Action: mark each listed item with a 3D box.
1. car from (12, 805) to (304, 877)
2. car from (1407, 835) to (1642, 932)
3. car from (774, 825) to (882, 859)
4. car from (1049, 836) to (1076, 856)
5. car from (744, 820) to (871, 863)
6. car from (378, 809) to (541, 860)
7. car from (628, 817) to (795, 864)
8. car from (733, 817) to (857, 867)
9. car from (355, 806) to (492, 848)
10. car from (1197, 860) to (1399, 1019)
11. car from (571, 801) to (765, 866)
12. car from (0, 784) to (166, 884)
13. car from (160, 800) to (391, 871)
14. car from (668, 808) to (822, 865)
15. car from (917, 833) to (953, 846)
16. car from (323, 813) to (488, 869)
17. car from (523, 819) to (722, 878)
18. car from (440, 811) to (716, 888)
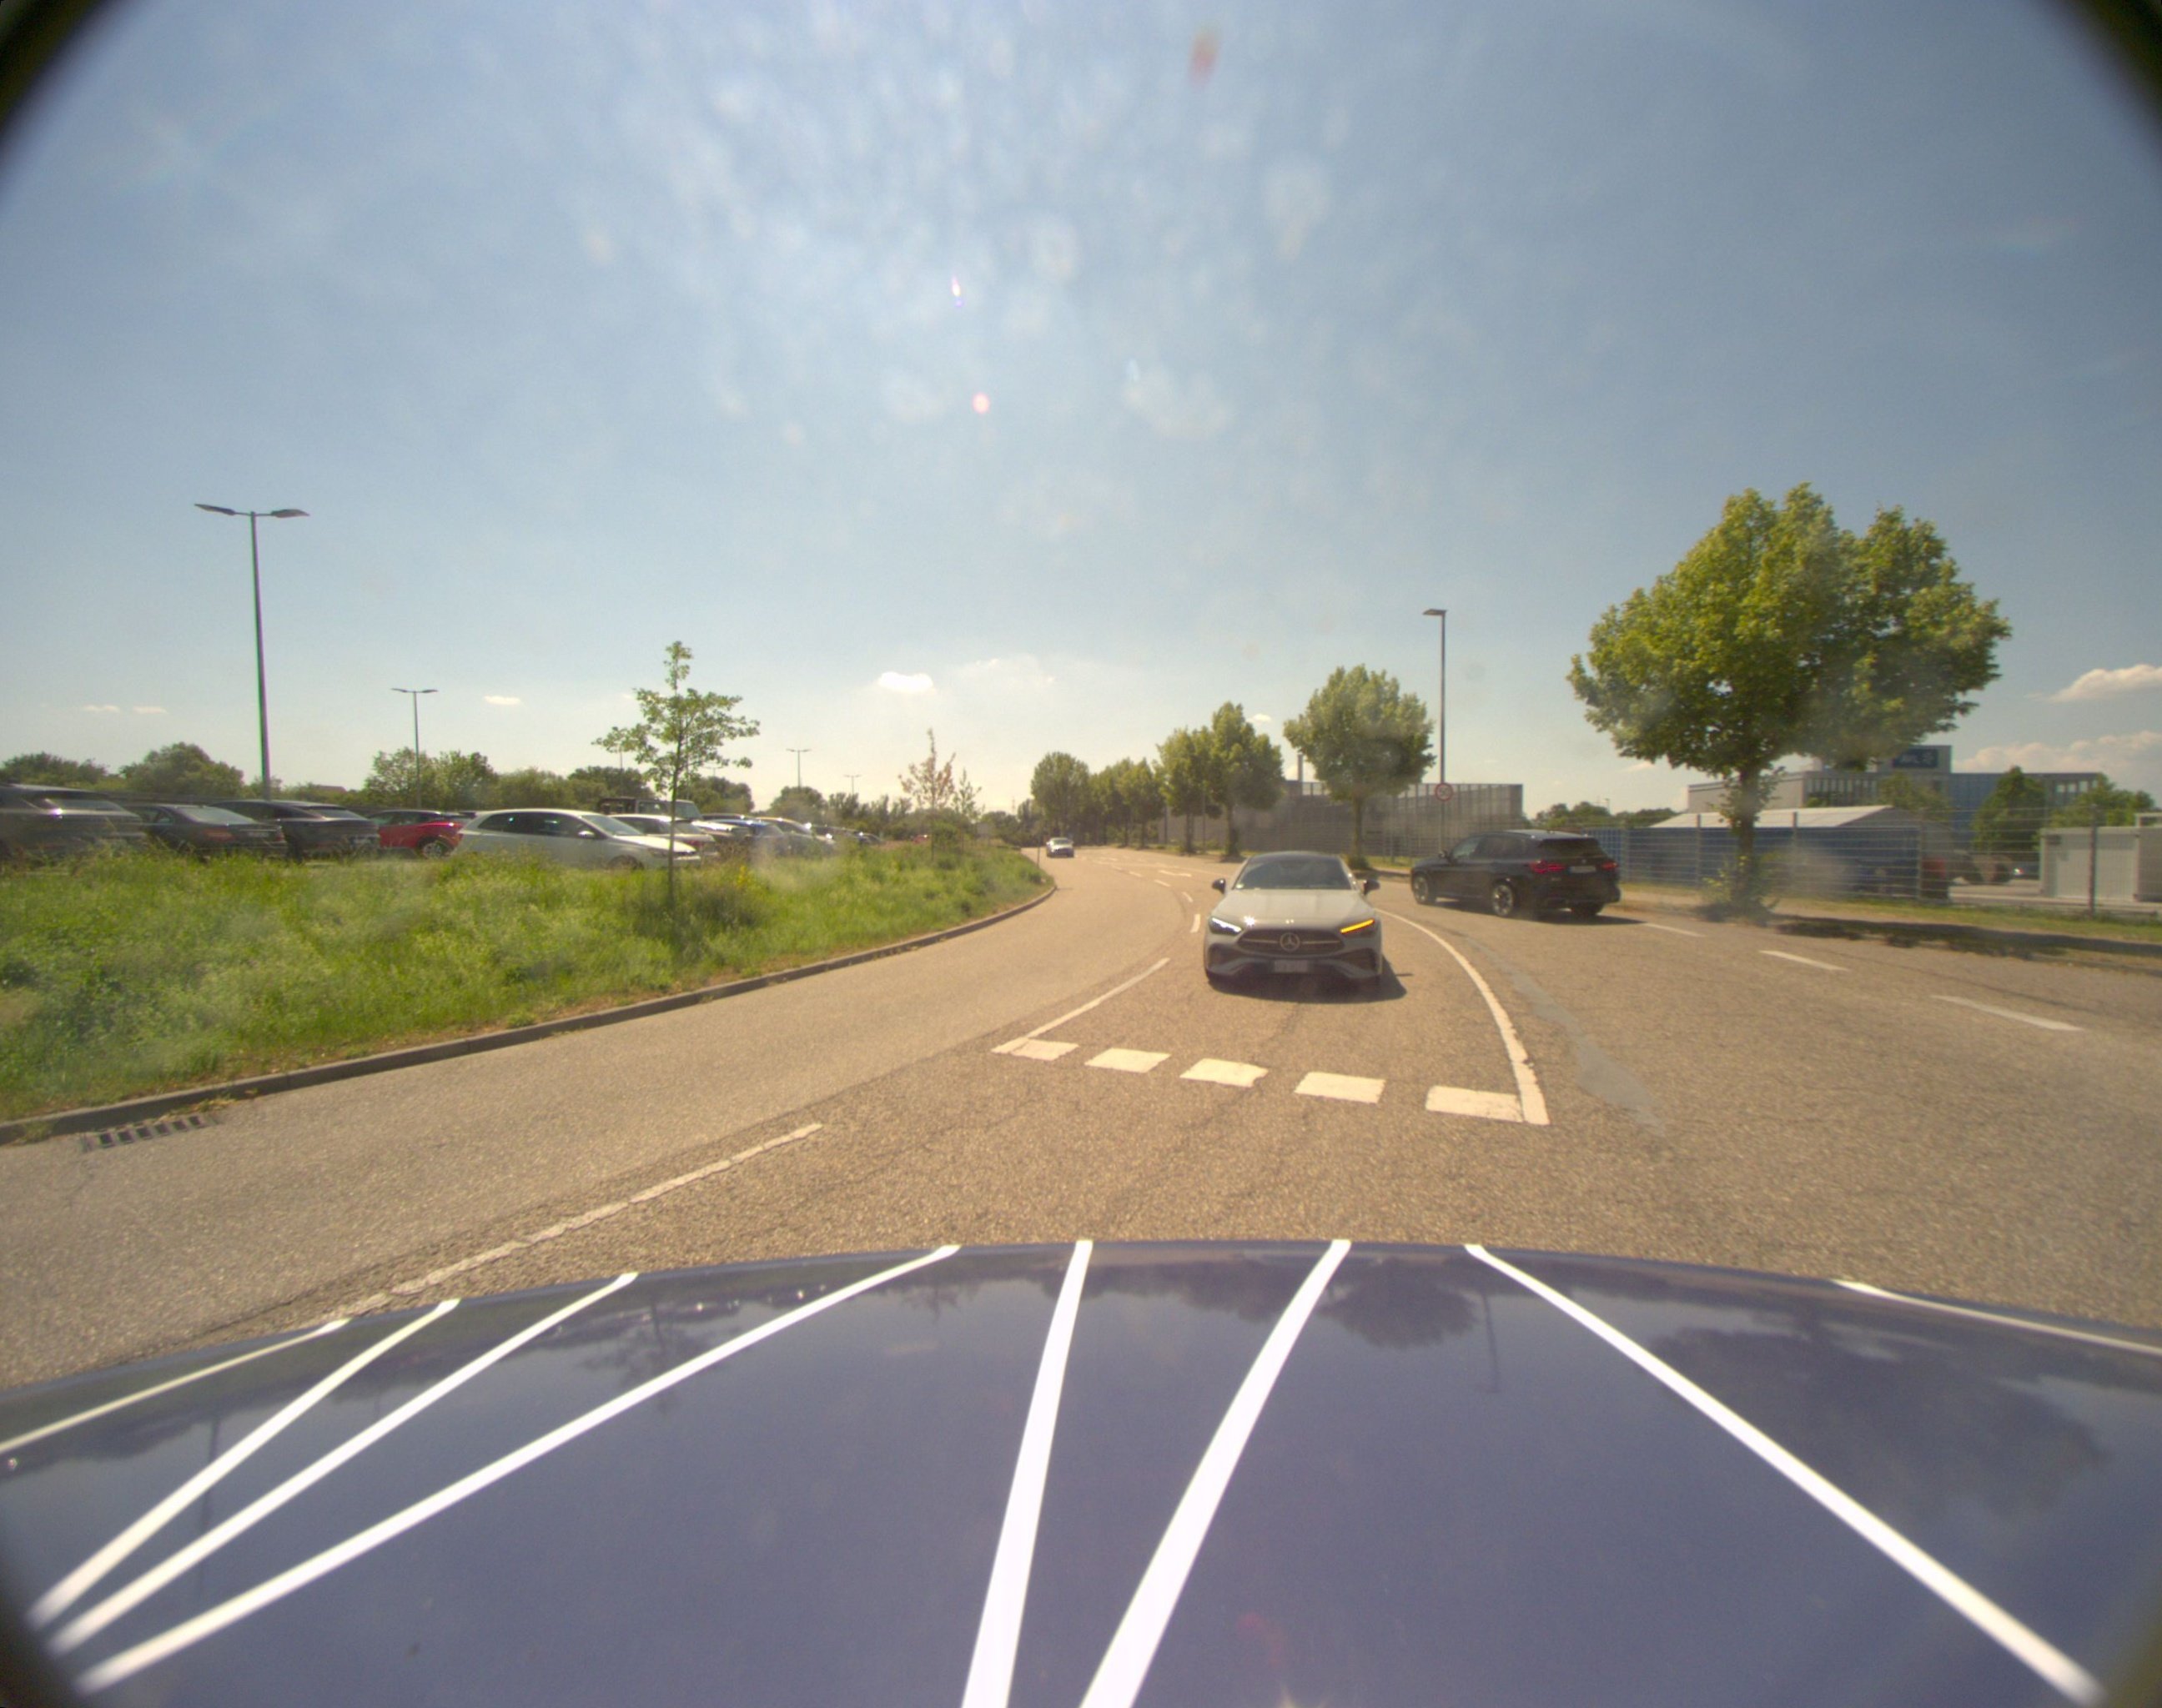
[{"bbox_3d":[-19.593,-0.284,16.300,3.849,1.355,1.651,1,2,-8],"label":"car"},{"bbox_3d":[8.797,0.463,15.654,1.869,1.625,4.595,-1,2,-5],"label":"car"},{"bbox_3d":[-10.724,-0.534,32.436,3.999,1.285,1.907,-2,3,-5],"label":"car"},{"bbox_3d":[-1.387,-0.628,56.316,1.673,1.367,4.493,-3,2,-5],"label":"car"},{"bbox_3d":[-10.691,-0.504,29.980,4.402,1.537,1.813,1,2,-7],"label":"car"},{"bbox_3d":[-21.124,-0.683,25.992,3.879,1.591,1.738,-2,3,-9],"label":"car"},{"bbox_3d":[-10.344,-0.410,21.529,3.947,1.251,1.583,0,4,-9],"label":"car"},{"bbox_3d":[-10.096,-0.431,27.050,3.850,1.615,1.615,1,2,-9],"label":"car"},{"bbox_3d":[-25.472,-1.037,29.535,3.639,1.491,1.767,1,2,-8],"label":"car"},{"bbox_3d":[2.768,0.836,9.666,1.895,1.375,4.638,0,1,17],"label":"car"},{"bbox_3d":[-10.130,-0.528,18.864,3.746,1.519,1.875,0,4,-1],"label":"car"},{"bbox_3d":[-19.949,-0.334,13.560,4.604,1.680,1.776,-1,1,-8],"label":"car"},{"bbox_3d":[-19.893,-0.460,18.930,3.639,1.588,1.767,1,2,-8],"label":"car"},{"bbox_3d":[-10.508,-0.580,24.021,4.039,1.422,1.685,-5,3,-8],"label":"car"},{"bbox_3d":[-17.035,-1.662,88.616,4.000,1.344,1.644,-2,3,-10],"label":"car"},{"bbox_3d":[-20.603,-0.431,23.302,3.420,1.565,1.520,-2,3,-9],"label":"car"},{"bbox_3d":[-9.696,-0.153,16.269,3.270,1.176,1.499,0,4,-6],"label":"car"},{"bbox_3d":[-8.986,-0.115,13.850,3.877,1.290,1.573,0,4,-5],"label":"car"}]
